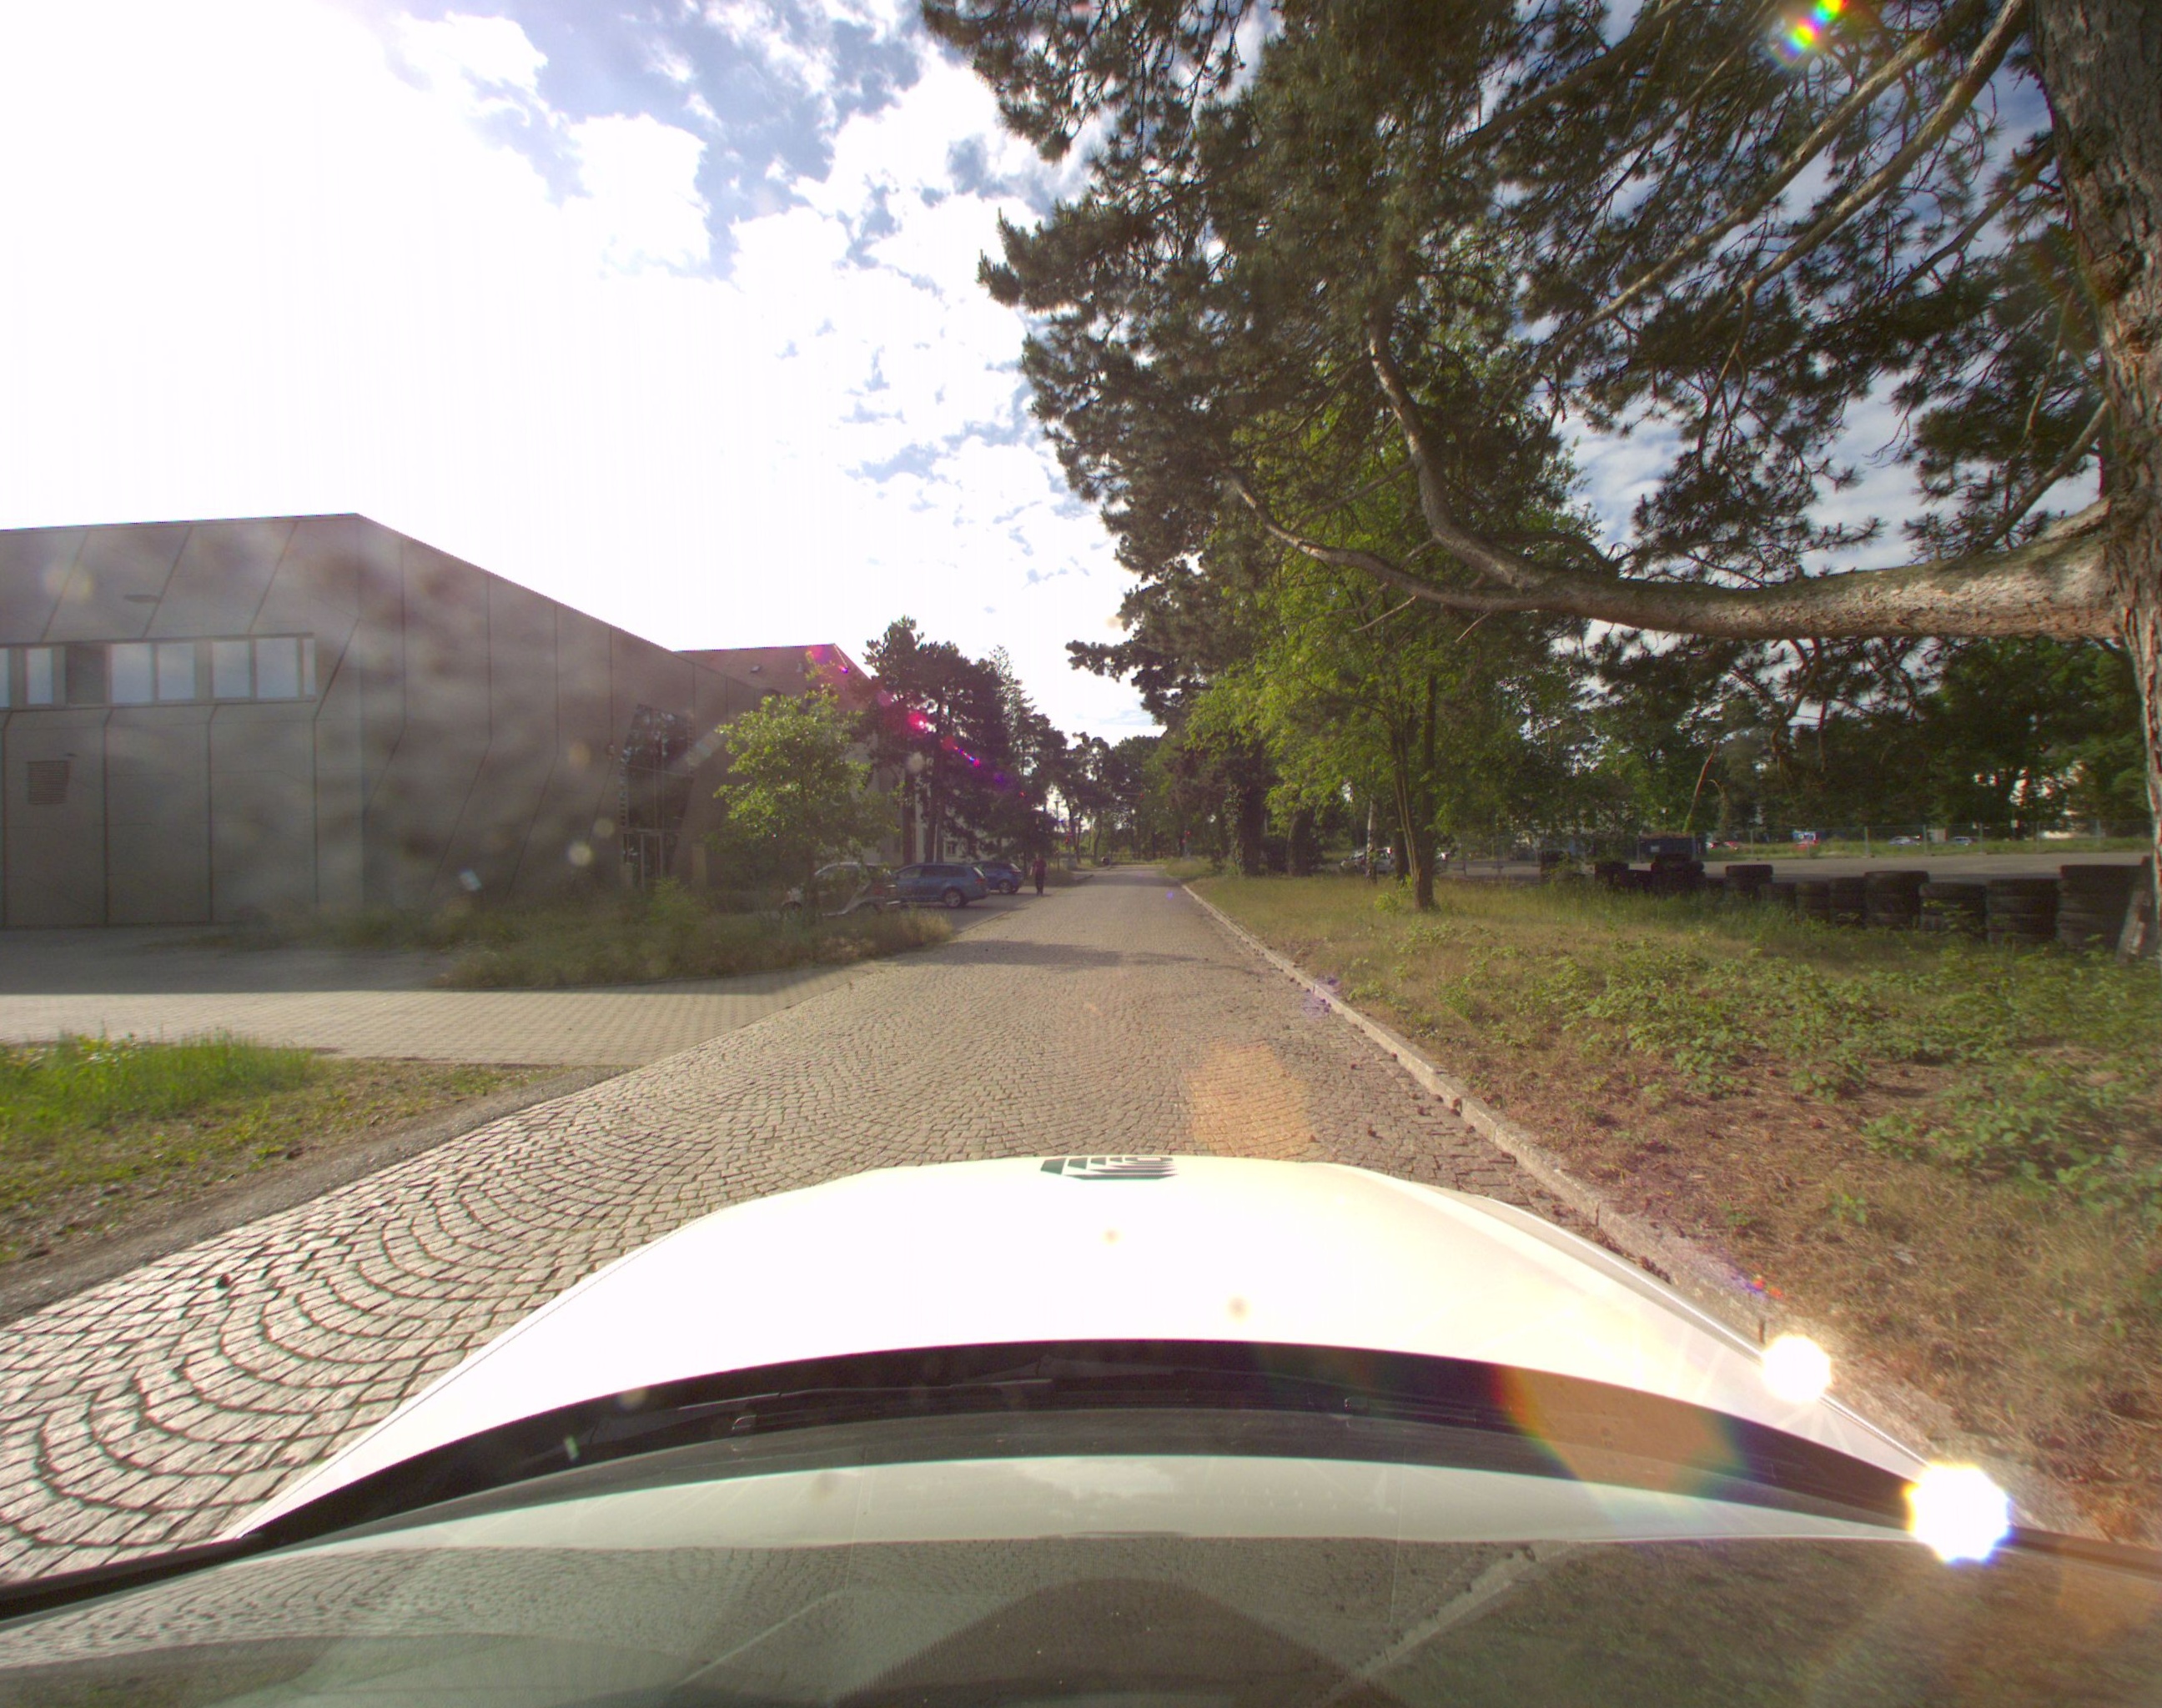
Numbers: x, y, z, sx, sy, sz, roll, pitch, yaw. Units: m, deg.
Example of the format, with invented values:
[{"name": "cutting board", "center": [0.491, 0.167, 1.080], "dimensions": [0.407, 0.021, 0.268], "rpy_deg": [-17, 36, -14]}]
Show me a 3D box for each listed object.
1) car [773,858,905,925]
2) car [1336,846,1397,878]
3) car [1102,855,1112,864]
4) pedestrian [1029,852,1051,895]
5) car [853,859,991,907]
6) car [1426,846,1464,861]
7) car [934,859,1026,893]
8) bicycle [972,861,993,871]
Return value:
[{"name": "car", "center": [-5.846, 0.879, 19.865], "dimensions": [2.687, 1.542, 1.520], "rpy_deg": [0, 0, 3]}, {"name": "car", "center": [14.092, 0.392, 40.416], "dimensions": [1.661, 1.468, 4.000], "rpy_deg": [-2, 0, 1]}, {"name": "car", "center": [4.566, 0.952, 142.833], "dimensions": [1.838, 1.486, 4.002], "rpy_deg": [-2, 0, 2]}, {"name": "pedestrian", "center": [-1.734, 0.799, 34.491], "dimensions": [0.801, 1.771, 1.153], "rpy_deg": [-1, 0, 0]}, {"name": "car", "center": [-5.222, 0.941, 27.171], "dimensions": [4.242, 1.464, 1.681], "rpy_deg": [0, 1, 0]}, {"name": "car", "center": [34.729, -0.065, 77.768], "dimensions": [1.725, 1.312, 4.332], "rpy_deg": [-2, 0, 1]}, {"name": "car", "center": [-4.512, 0.959, 36.735], "dimensions": [3.817, 1.464, 1.722], "rpy_deg": [0, 0, 5]}, {"name": "bicycle", "center": [-10.412, 1.243, 86.010], "dimensions": [2.110, 1.047, 0.829], "rpy_deg": [-2, 0, 0]}]
